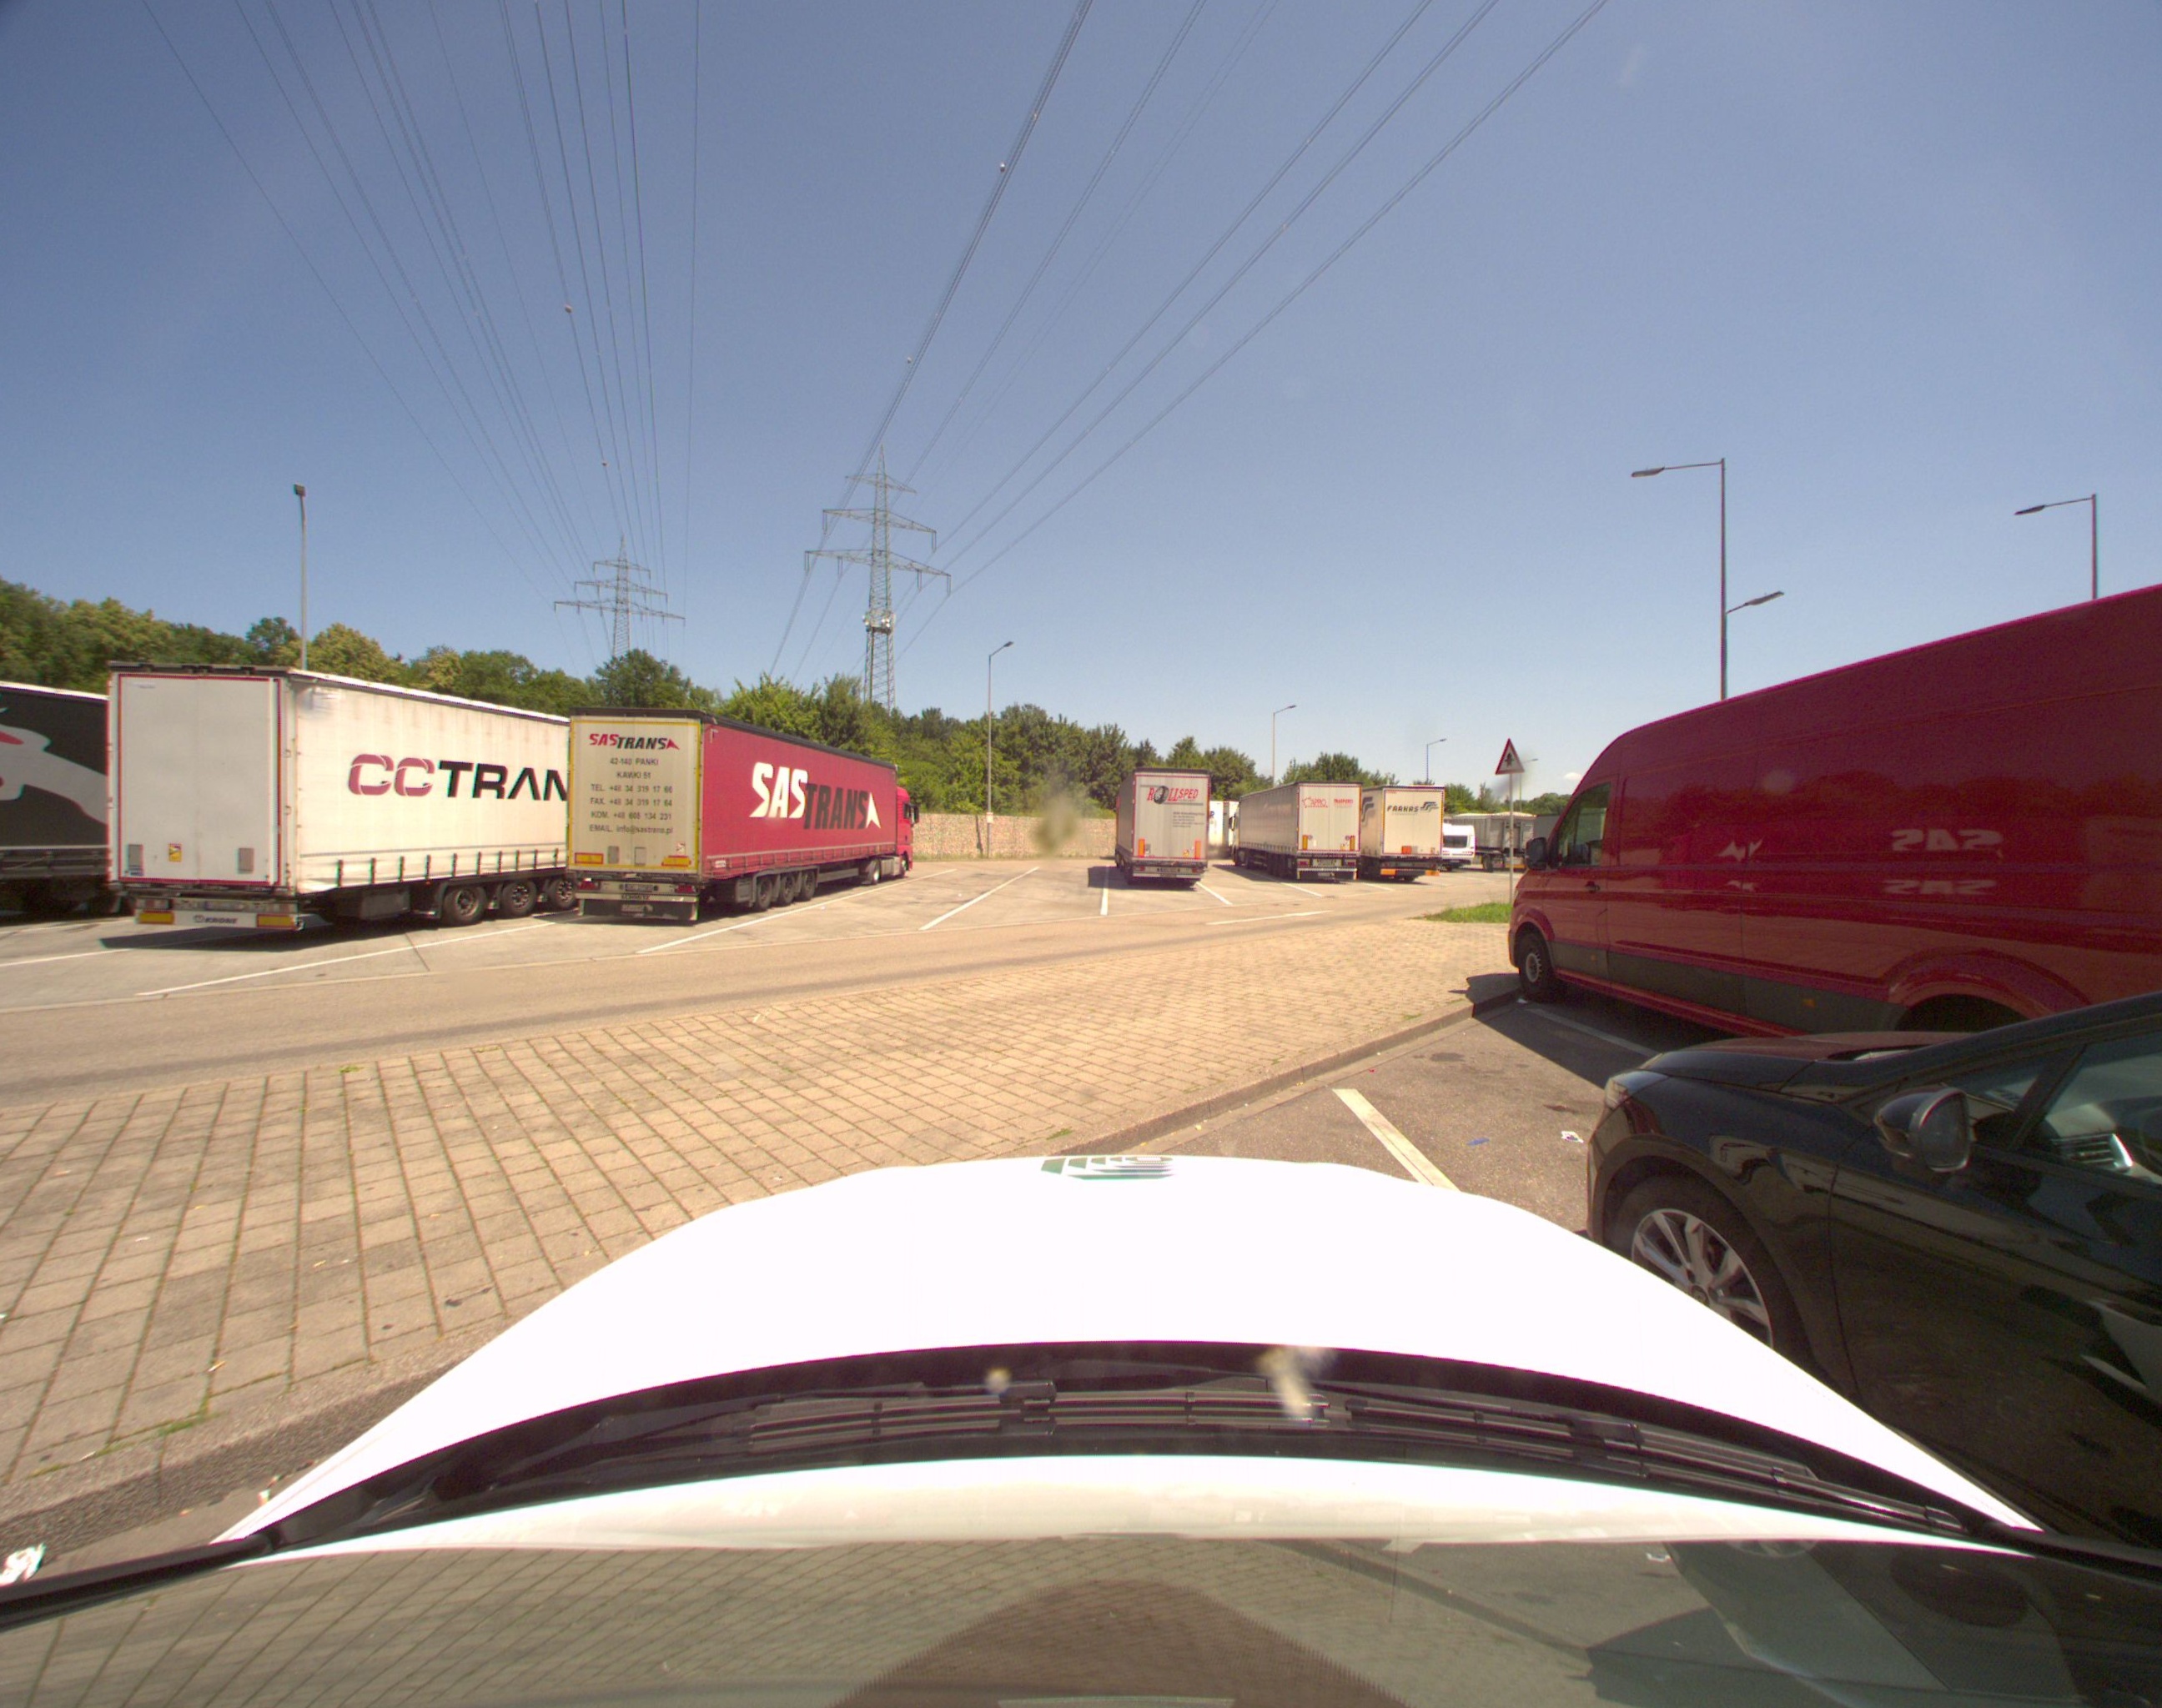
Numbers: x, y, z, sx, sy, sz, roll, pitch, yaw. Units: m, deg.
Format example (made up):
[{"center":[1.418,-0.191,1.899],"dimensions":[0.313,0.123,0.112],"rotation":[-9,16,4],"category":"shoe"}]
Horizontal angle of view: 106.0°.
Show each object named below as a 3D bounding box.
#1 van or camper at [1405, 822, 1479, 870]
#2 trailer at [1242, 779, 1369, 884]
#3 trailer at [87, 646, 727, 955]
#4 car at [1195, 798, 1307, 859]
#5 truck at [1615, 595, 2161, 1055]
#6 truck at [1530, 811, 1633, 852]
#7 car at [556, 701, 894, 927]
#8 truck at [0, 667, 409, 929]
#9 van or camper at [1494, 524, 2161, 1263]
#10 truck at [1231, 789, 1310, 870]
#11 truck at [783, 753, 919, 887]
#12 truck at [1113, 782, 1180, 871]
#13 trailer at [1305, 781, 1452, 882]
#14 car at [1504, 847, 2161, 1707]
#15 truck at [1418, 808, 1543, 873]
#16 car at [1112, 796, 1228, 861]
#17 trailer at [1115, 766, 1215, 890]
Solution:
[{"center":[20.591,-0.475,46.736],"dimensions":[2.096,2.561,5.376],"rotation":[-1,1,3],"category":"van or camper"},{"center":[9.953,-1.111,37.898],"dimensions":[2.855,4.037,12.445],"rotation":[0,2,2],"category":"trailer"},{"center":[-12.165,-0.980,17.787],"dimensions":[2.803,4.266,12.947],"rotation":[0,2,2],"category":"trailer"},{"center":[12.868,-1.861,60.773],"dimensions":[10.274,4.188,2.656],"rotation":[-1,3,-43],"category":"car"},{"center":[7.936,-0.215,7.061],"dimensions":[2.455,2.792,6.978],"rotation":[0,1,4],"category":"truck"},{"center":[38.036,-1.657,62.371],"dimensions":[2.117,2.820,9.783],"rotation":[-1,1,2],"category":"truck"},{"center":[-8.051,-0.939,21.430],"dimensions":[2.686,4.112,12.943],"rotation":[1,2,2],"category":"car"},{"center":[-18.620,-1.026,16.268],"dimensions":[2.803,4.190,8.793],"rotation":[0,2,2],"category":"truck"},{"center":[5.135,0.096,5.489],"dimensions":[1.986,2.654,6.490],"rotation":[-1,1,6],"category":"van or camper"},{"center":[10.180,-1.376,44.530],"dimensions":[2.856,4.037,6.960],"rotation":[0,2,2],"category":"truck"},{"center":[-7.751,-1.159,28.347],"dimensions":[2.686,4.112,6.243],"rotation":[1,2,2],"category":"truck"},{"center":[3.138,-1.401,40.814],"dimensions":[2.857,4.037,7.029],"rotation":[0,2,1],"category":"truck"},{"center":[13.641,-1.132,38.873],"dimensions":[2.855,4.037,12.445],"rotation":[0,2,2],"category":"trailer"},{"center":[2.451,0.752,1.137],"dimensions":[1.612,1.483,3.762],"rotation":[-1,1,-4],"category":"car"},{"center":[24.301,-0.967,50.495],"dimensions":[2.478,3.568,11.429],"rotation":[0,2,2],"category":"truck"},{"center":[6.067,-1.668,54.345],"dimensions":[8.515,4.043,2.656],"rotation":[-1,3,-43],"category":"car"},{"center":[3.044,-1.111,33.726],"dimensions":[2.857,4.037,14.244],"rotation":[0,2,1],"category":"trailer"}]
